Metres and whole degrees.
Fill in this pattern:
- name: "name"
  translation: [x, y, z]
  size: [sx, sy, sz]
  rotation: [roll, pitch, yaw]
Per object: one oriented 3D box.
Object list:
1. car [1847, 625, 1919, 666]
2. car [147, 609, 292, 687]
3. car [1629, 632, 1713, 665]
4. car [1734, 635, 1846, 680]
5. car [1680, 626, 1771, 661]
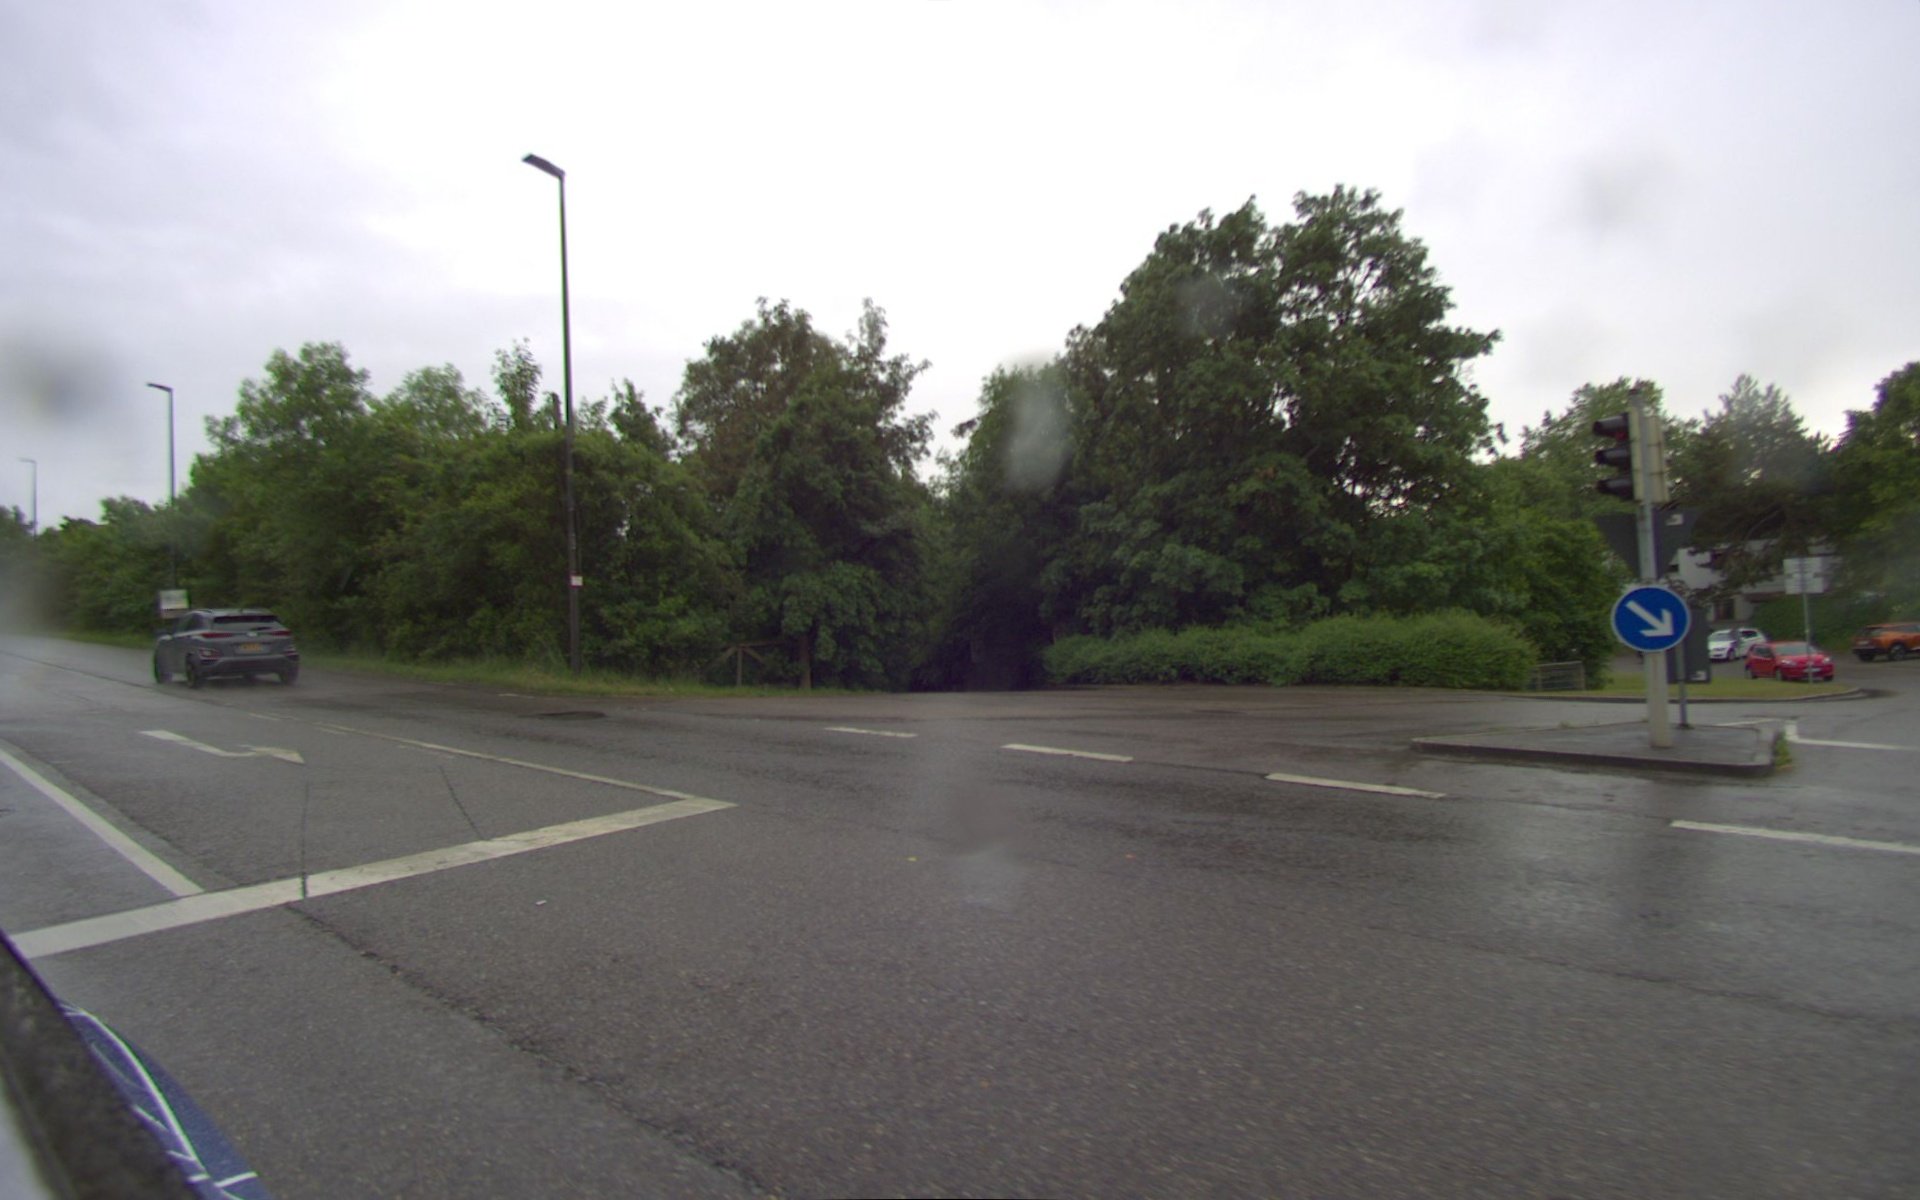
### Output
- name: "car"
  translation: [39.905, 1.893, 42.143]
  size: [3.955, 1.597, 1.994]
  rotation: [0, 0, 9]
- name: "car"
  translation: [-15.524, 0.946, 21.149]
  size: [3.998, 1.481, 1.622]
  rotation: [-1, -1, 41]
- name: "car"
  translation: [37.256, 2.518, 53.056]
  size: [3.930, 1.597, 1.742]
  rotation: [0, 0, -22]
- name: "car"
  translation: [30.658, 2.076, 37.525]
  size: [1.535, 1.413, 3.984]
  rotation: [0, 0, 13]
- name: "car"
  translation: [38.140, 2.155, 50.423]
  size: [3.930, 1.597, 2.007]
  rotation: [0, 0, -24]
